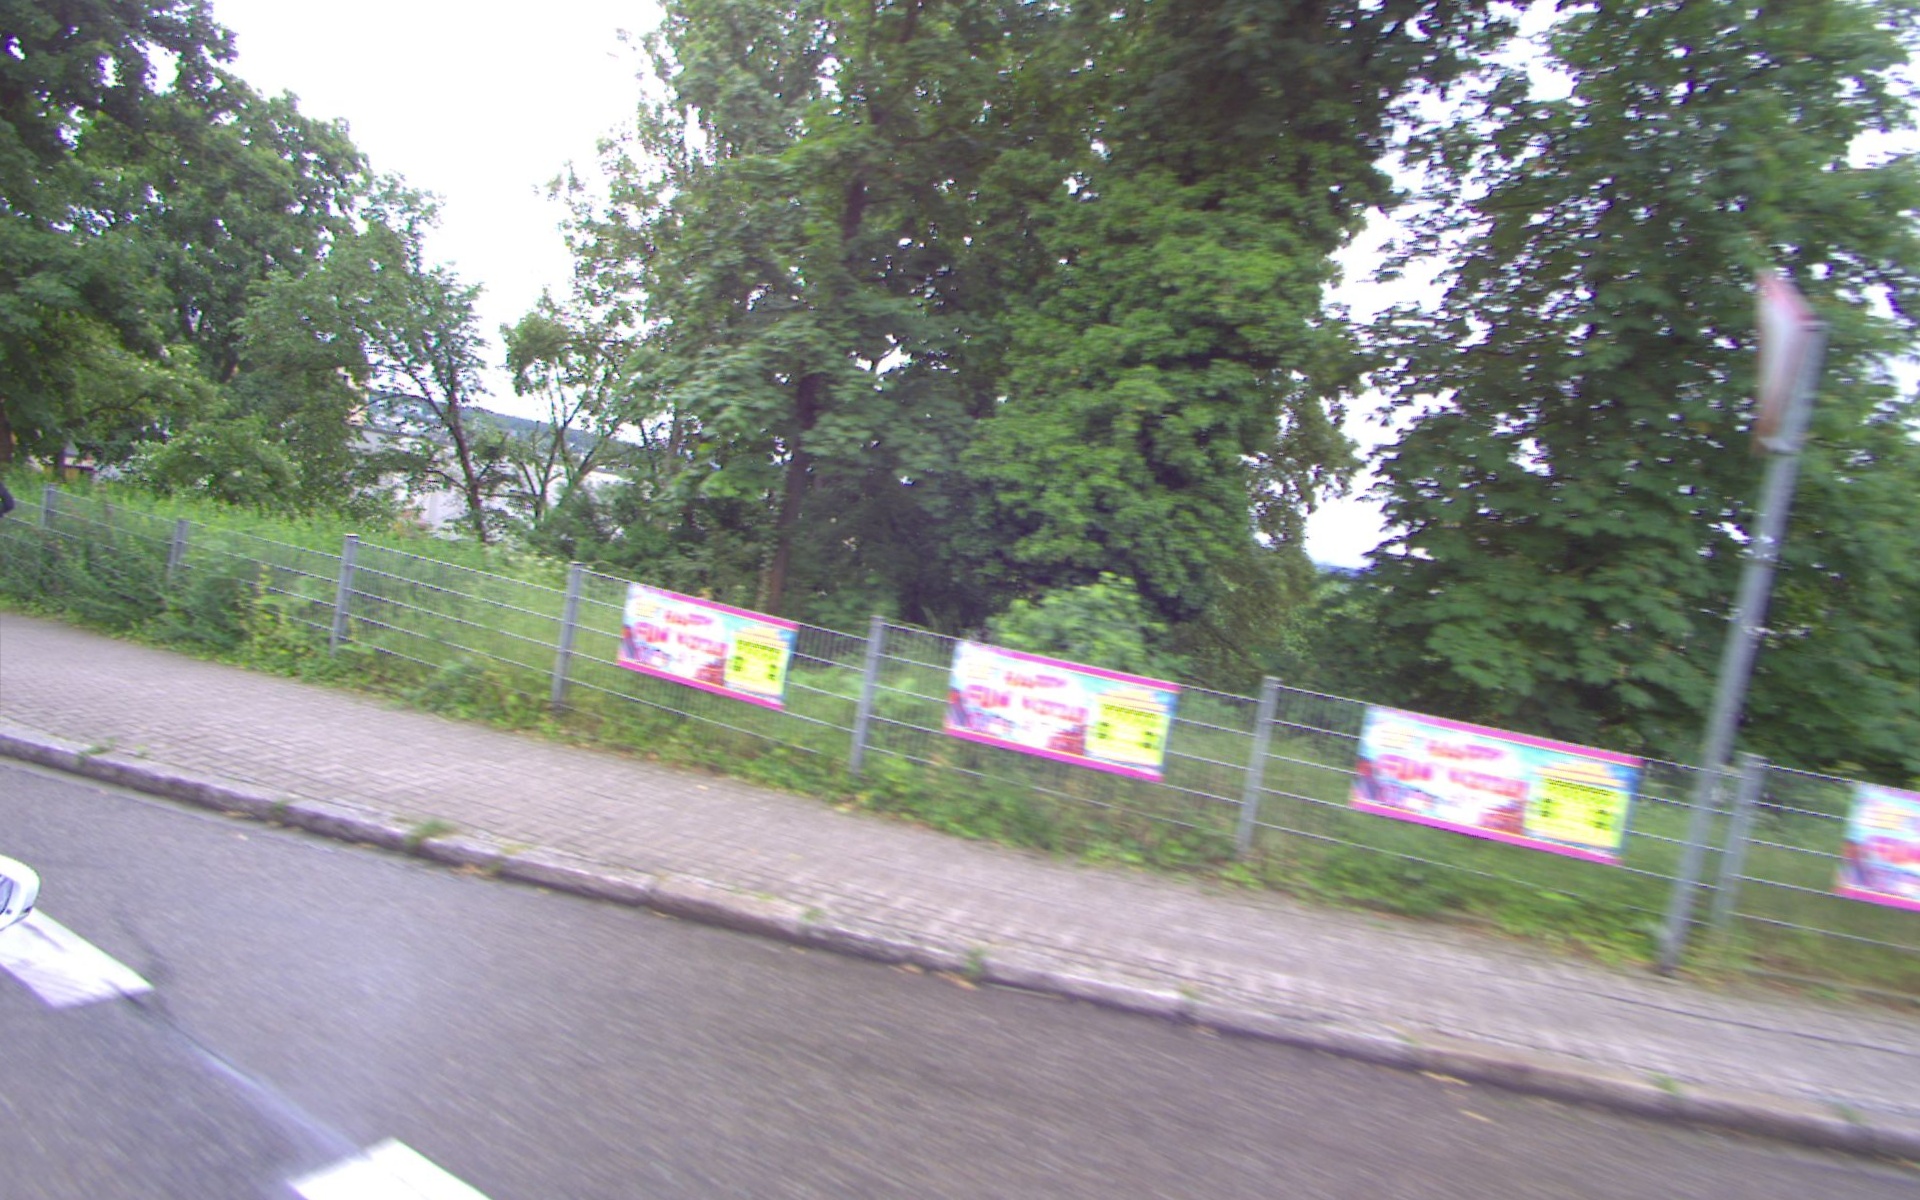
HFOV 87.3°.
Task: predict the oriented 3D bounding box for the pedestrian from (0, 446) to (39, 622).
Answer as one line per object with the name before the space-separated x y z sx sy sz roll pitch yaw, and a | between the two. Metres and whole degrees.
pedestrian | -9.341 -0.658 9.405 0.948 1.628 0.766 7 5 25
